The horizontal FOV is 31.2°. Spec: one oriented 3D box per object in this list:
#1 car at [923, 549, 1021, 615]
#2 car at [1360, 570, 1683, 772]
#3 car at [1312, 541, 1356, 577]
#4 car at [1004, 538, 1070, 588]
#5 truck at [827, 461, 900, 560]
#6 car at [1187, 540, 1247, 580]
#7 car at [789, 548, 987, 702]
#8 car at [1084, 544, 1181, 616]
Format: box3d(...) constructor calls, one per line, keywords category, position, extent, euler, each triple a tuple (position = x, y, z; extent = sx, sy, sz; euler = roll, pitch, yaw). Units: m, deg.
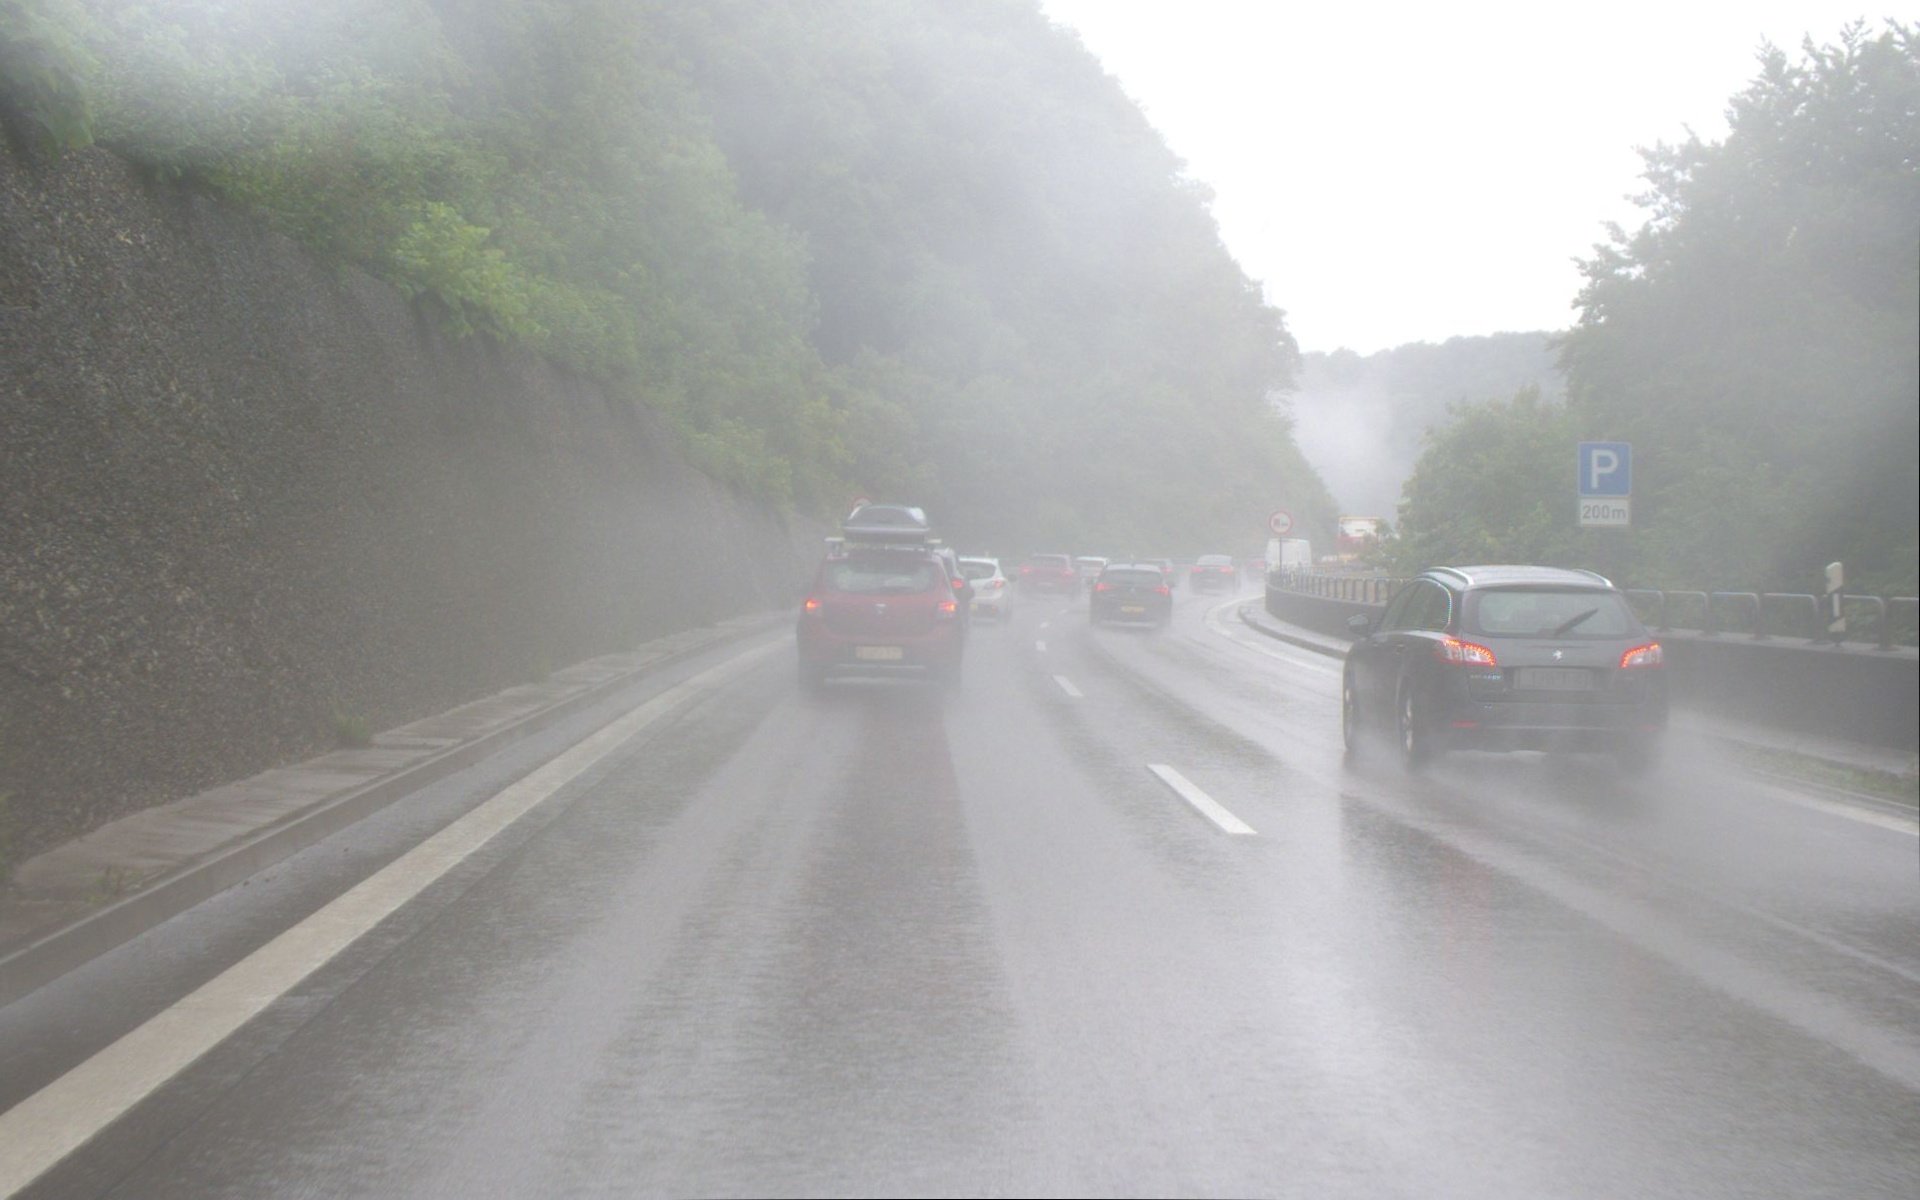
box3d(category="car", position=(0.226, -0.403, 73.225), extent=(1.993, 1.349, 4.000), euler=(1, 1, -1))
box3d(category="car", position=(3.974, 0.454, 24.912), extent=(1.800, 1.303, 4.000), euler=(1, 1, 2))
box3d(category="car", position=(21.921, -2.409, 201.628), extent=(2.449, 2.007, 4.735), euler=(1, 1, 5))
box3d(category="car", position=(2.666, -1.283, 118.309), extent=(1.867, 1.678, 3.999), euler=(1, 1, 7))
box3d(category="truck", position=(-2.730, -2.524, 98.354), extent=(1.993, 2.741, 5.587), euler=(0, 1, -1))
box3d(category="car", position=(11.242, -1.736, 150.095), extent=(1.826, 1.713, 3.997), euler=(1, 1, 16))
box3d(category="car", position=(-0.801, 0.228, 36.781), extent=(1.993, 1.547, 4.000), euler=(0, 1, -2))
box3d(category="car", position=(3.814, -0.462, 76.471), extent=(1.993, 1.546, 4.000), euler=(0, 1, 1))
